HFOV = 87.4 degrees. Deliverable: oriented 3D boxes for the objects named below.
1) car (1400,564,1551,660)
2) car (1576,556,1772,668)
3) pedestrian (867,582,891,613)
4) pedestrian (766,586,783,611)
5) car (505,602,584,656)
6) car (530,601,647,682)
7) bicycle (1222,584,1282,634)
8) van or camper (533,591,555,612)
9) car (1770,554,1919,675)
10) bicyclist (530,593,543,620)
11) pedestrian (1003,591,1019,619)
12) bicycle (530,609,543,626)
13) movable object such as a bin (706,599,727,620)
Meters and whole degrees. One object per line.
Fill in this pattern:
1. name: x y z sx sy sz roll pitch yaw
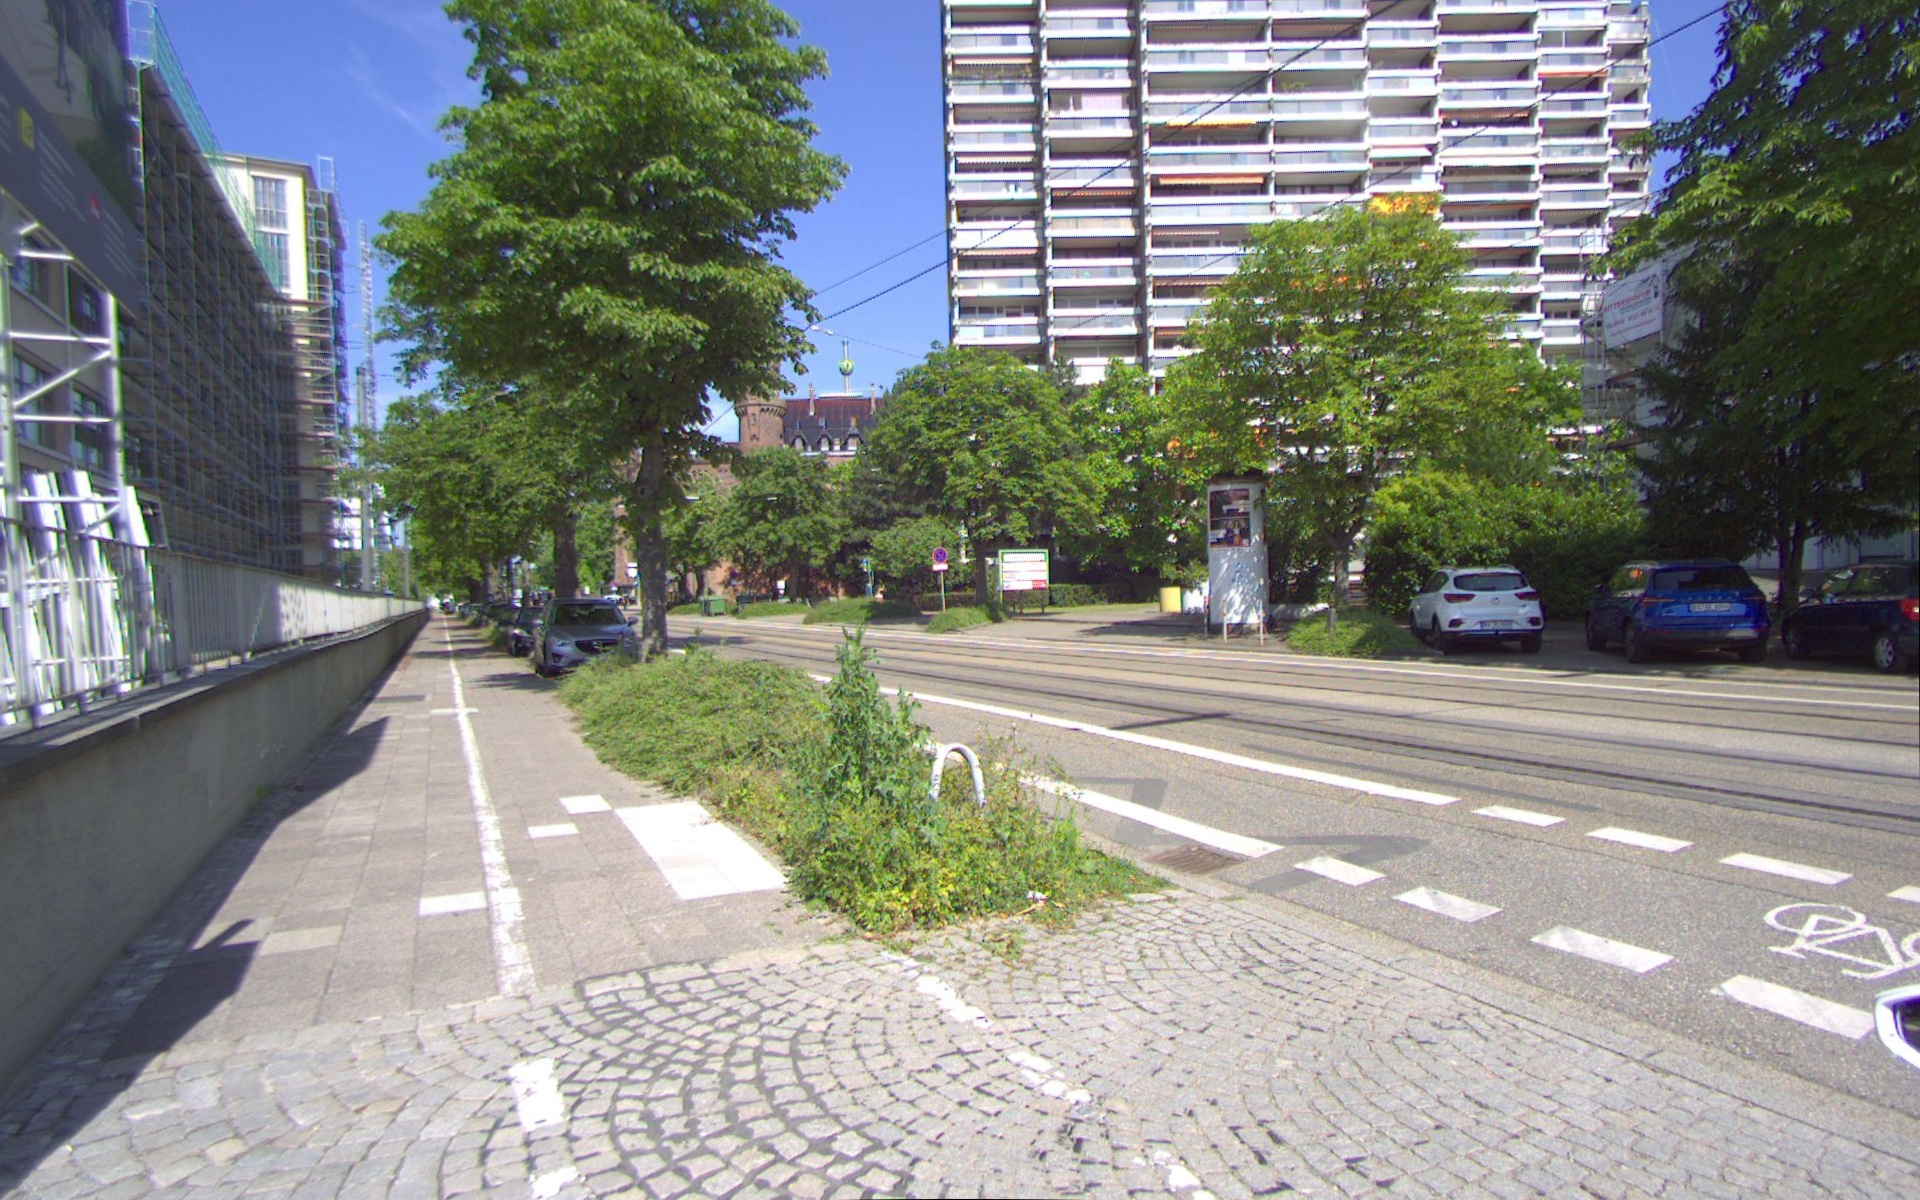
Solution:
1. car: 10.099 0.193 19.980 1.783 1.627 3.946 -3 0 15
2. car: 11.905 0.123 17.035 1.746 1.644 3.943 -2 2 21
3. pedestrian: -4.681 -0.142 58.177 1.045 1.822 1.257 0 0 -24
4. pedestrian: -14.084 -0.123 76.191 1.045 1.822 1.258 0 0 -23
5. car: -12.521 0.819 30.143 1.798 1.472 3.971 -2 0 -28
6. car: -8.031 0.809 21.512 1.798 1.514 4.078 -2 0 -28
7. bicycle: 7.994 0.233 27.523 0.541 1.326 1.606 -2 1 -33
8. van or camper: -55.232 0.152 133.355 2.025 2.655 5.817 -2 1 -29
9. car: 13.323 0.144 14.313 1.545 1.551 3.459 -1 1 17
10. bicyclist: -25.962 0.374 61.562 0.625 1.628 0.697 -2 1 -30
11. pedestrian: 2.213 0.210 43.608 0.524 1.170 0.701 -2 1 -6
12. bicycle: -25.980 1.058 61.614 0.590 1.020 1.475 -2 1 -30
13. movable object such as a bin: -17.352 0.677 71.575 1.248 1.473 1.074 -1 1 -22
